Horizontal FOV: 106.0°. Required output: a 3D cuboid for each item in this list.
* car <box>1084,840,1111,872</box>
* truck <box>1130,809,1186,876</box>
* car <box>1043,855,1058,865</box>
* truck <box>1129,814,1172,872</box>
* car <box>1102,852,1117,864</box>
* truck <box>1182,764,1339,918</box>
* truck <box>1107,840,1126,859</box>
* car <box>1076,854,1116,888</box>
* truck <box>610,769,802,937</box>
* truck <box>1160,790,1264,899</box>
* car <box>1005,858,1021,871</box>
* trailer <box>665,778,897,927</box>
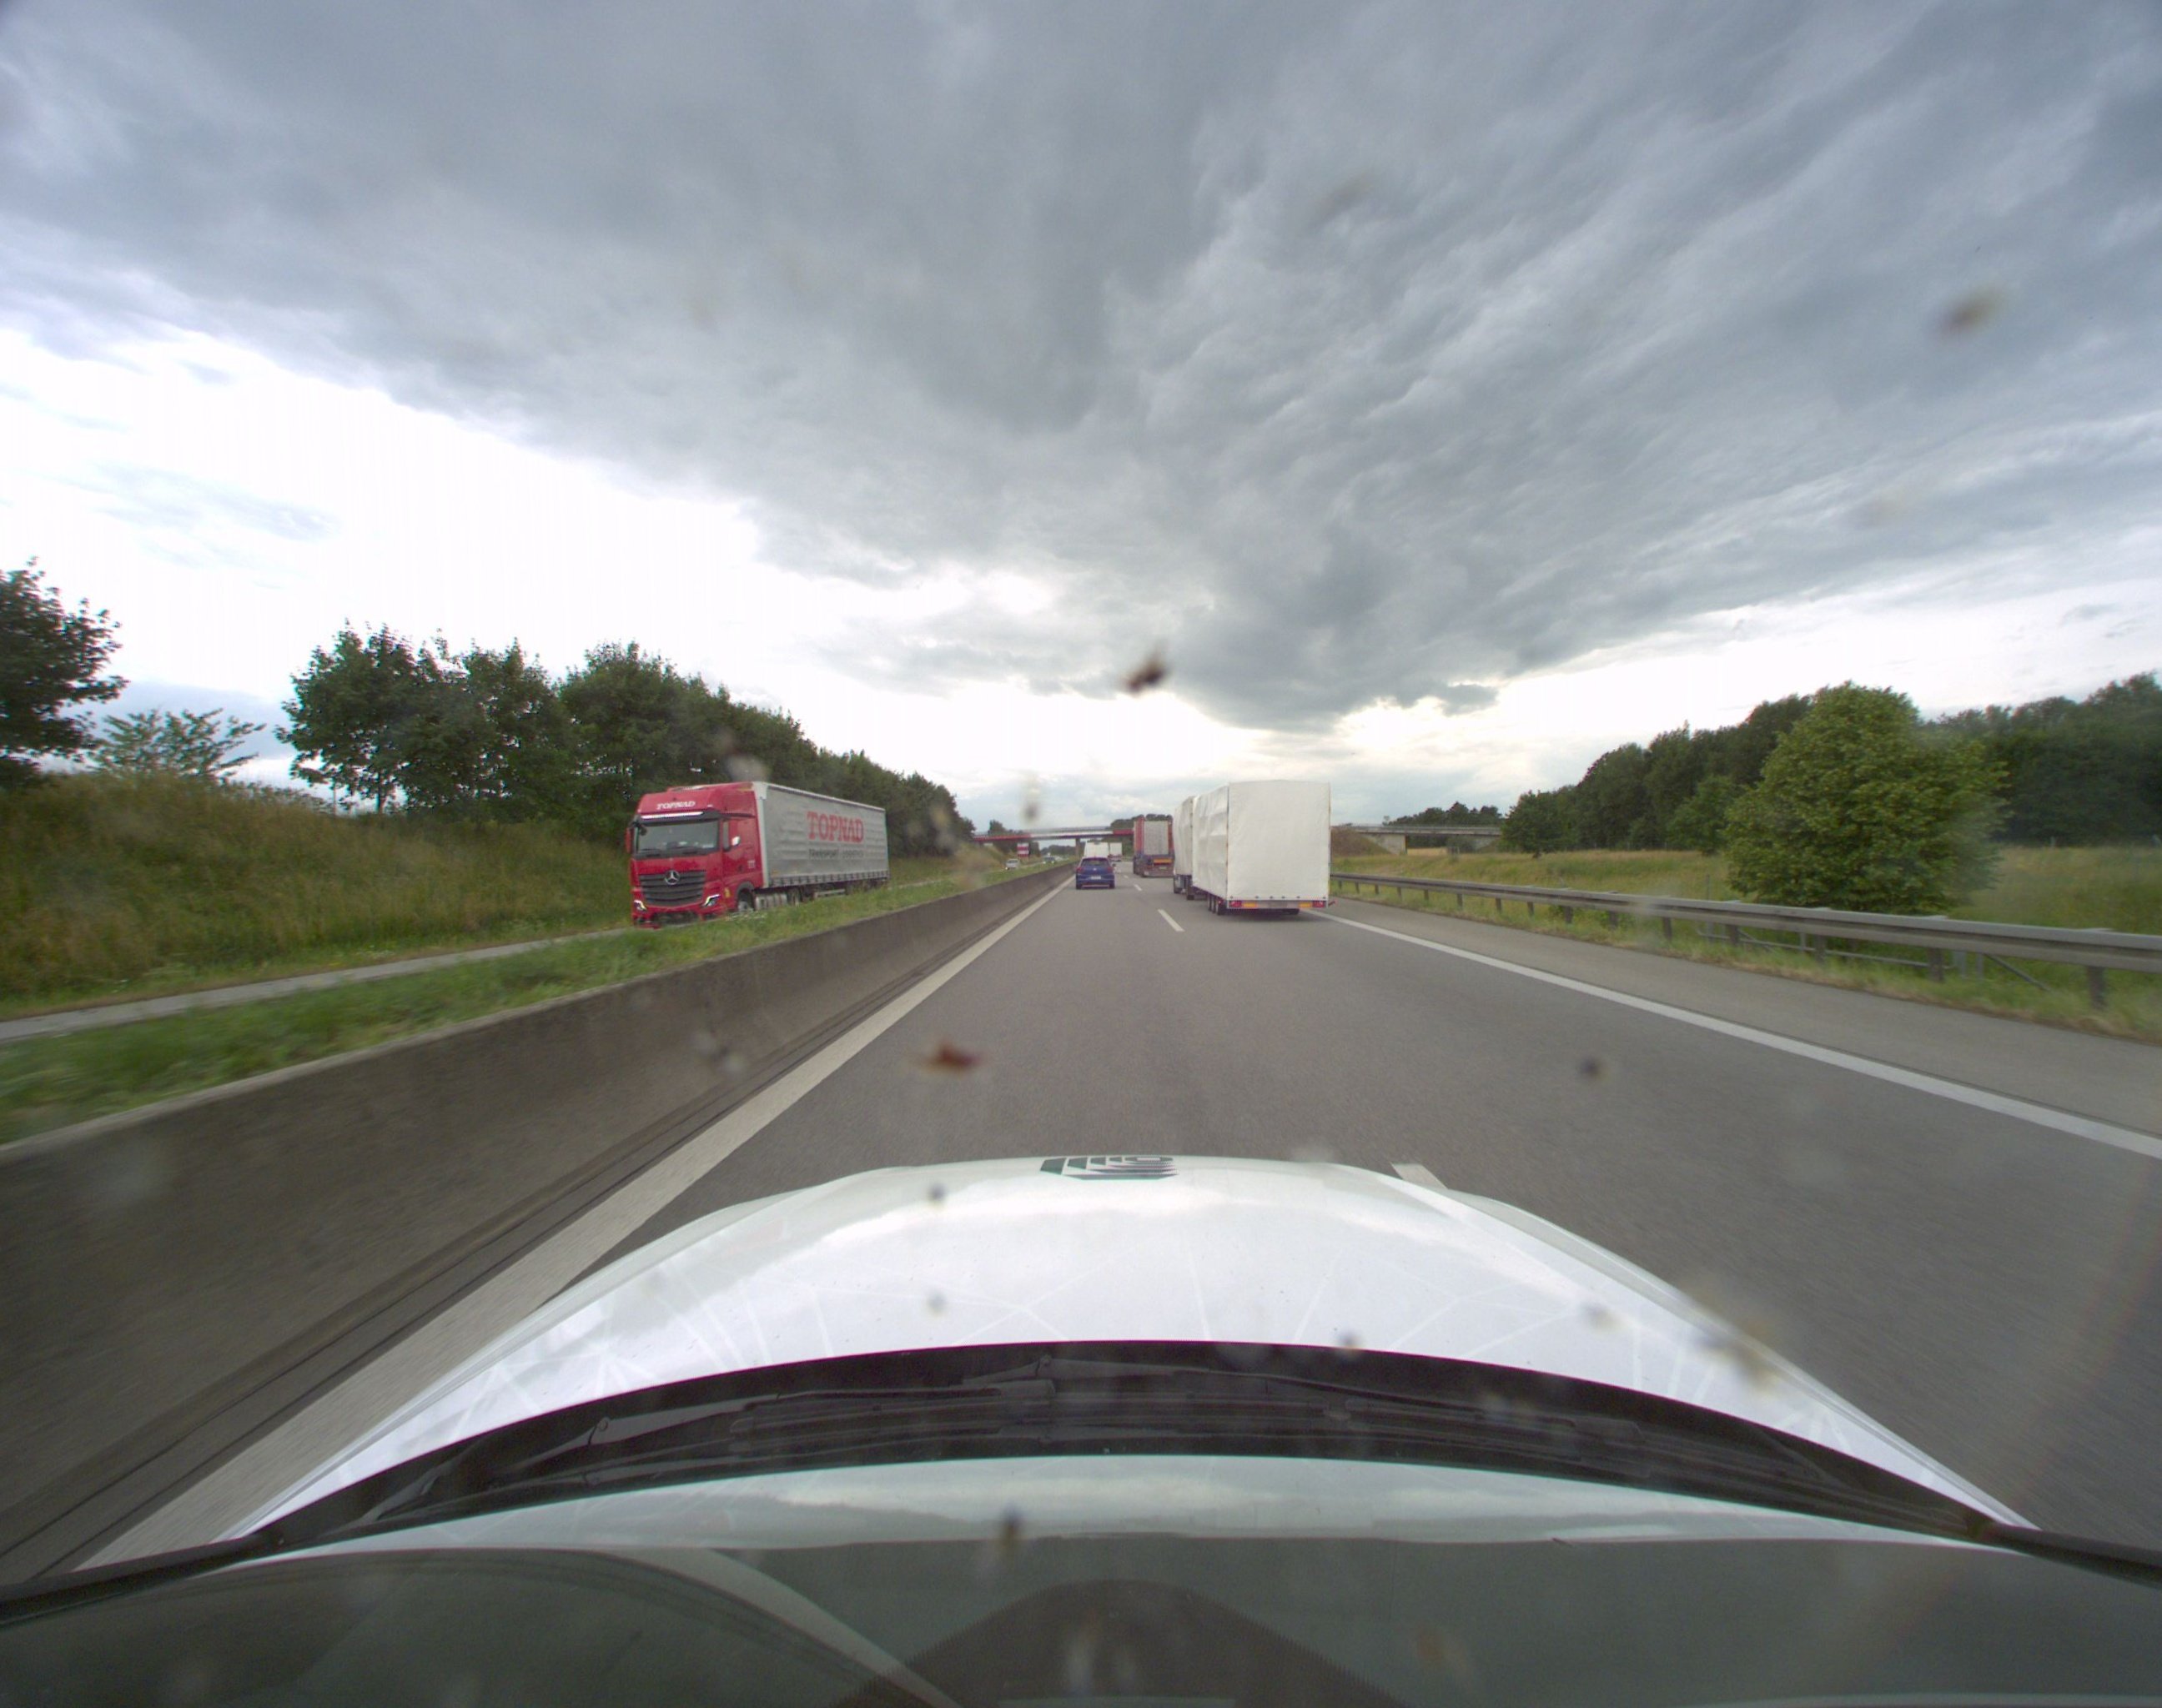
[{"bbox_3d":[1.357,0.138,66.947,2.122,2.482,5.841,-2,0,1],"label":"car"},{"bbox_3d":[5.067,-0.741,55.565,2.664,4.045,11.107,-2,0,0],"label":"truck"},{"bbox_3d":[-4.691,0.902,125.077,1.841,1.378,4.601,-4,0,1],"label":"car"},{"bbox_3d":[5.100,-0.791,60.928,2.664,4.045,5.512,-2,0,0],"label":"truck"},{"bbox_3d":[3.384,0.468,97.542,1.658,1.407,3.648,-1,0,0],"label":"car"},{"bbox_3d":[4.253,-0.270,20.843,2.407,3.222,7.143,-1,0,0],"label":"truck"},{"bbox_3d":[7.334,-0.946,169.295,3.101,3.689,9.320,-4,0,0],"label":"truck"},{"bbox_3d":[0.664,0.713,36.643,1.658,1.407,3.648,-1,0,0],"label":"car"},{"bbox_3d":[-10.381,-0.043,23.198,2.697,4.088,5.166,-4,0,1],"label":"truck"},{"bbox_3d":[4.282,-0.288,28.058,2.422,3.243,7.246,-1,0,0],"label":"truck"},{"bbox_3d":[-8.525,1.302,102.395,1.640,1.409,3.888,-4,0,0],"label":"car"},{"bbox_3d":[-10.201,-0.104,30.546,2.696,4.088,14.602,-4,0,2],"label":"trailer"}]
